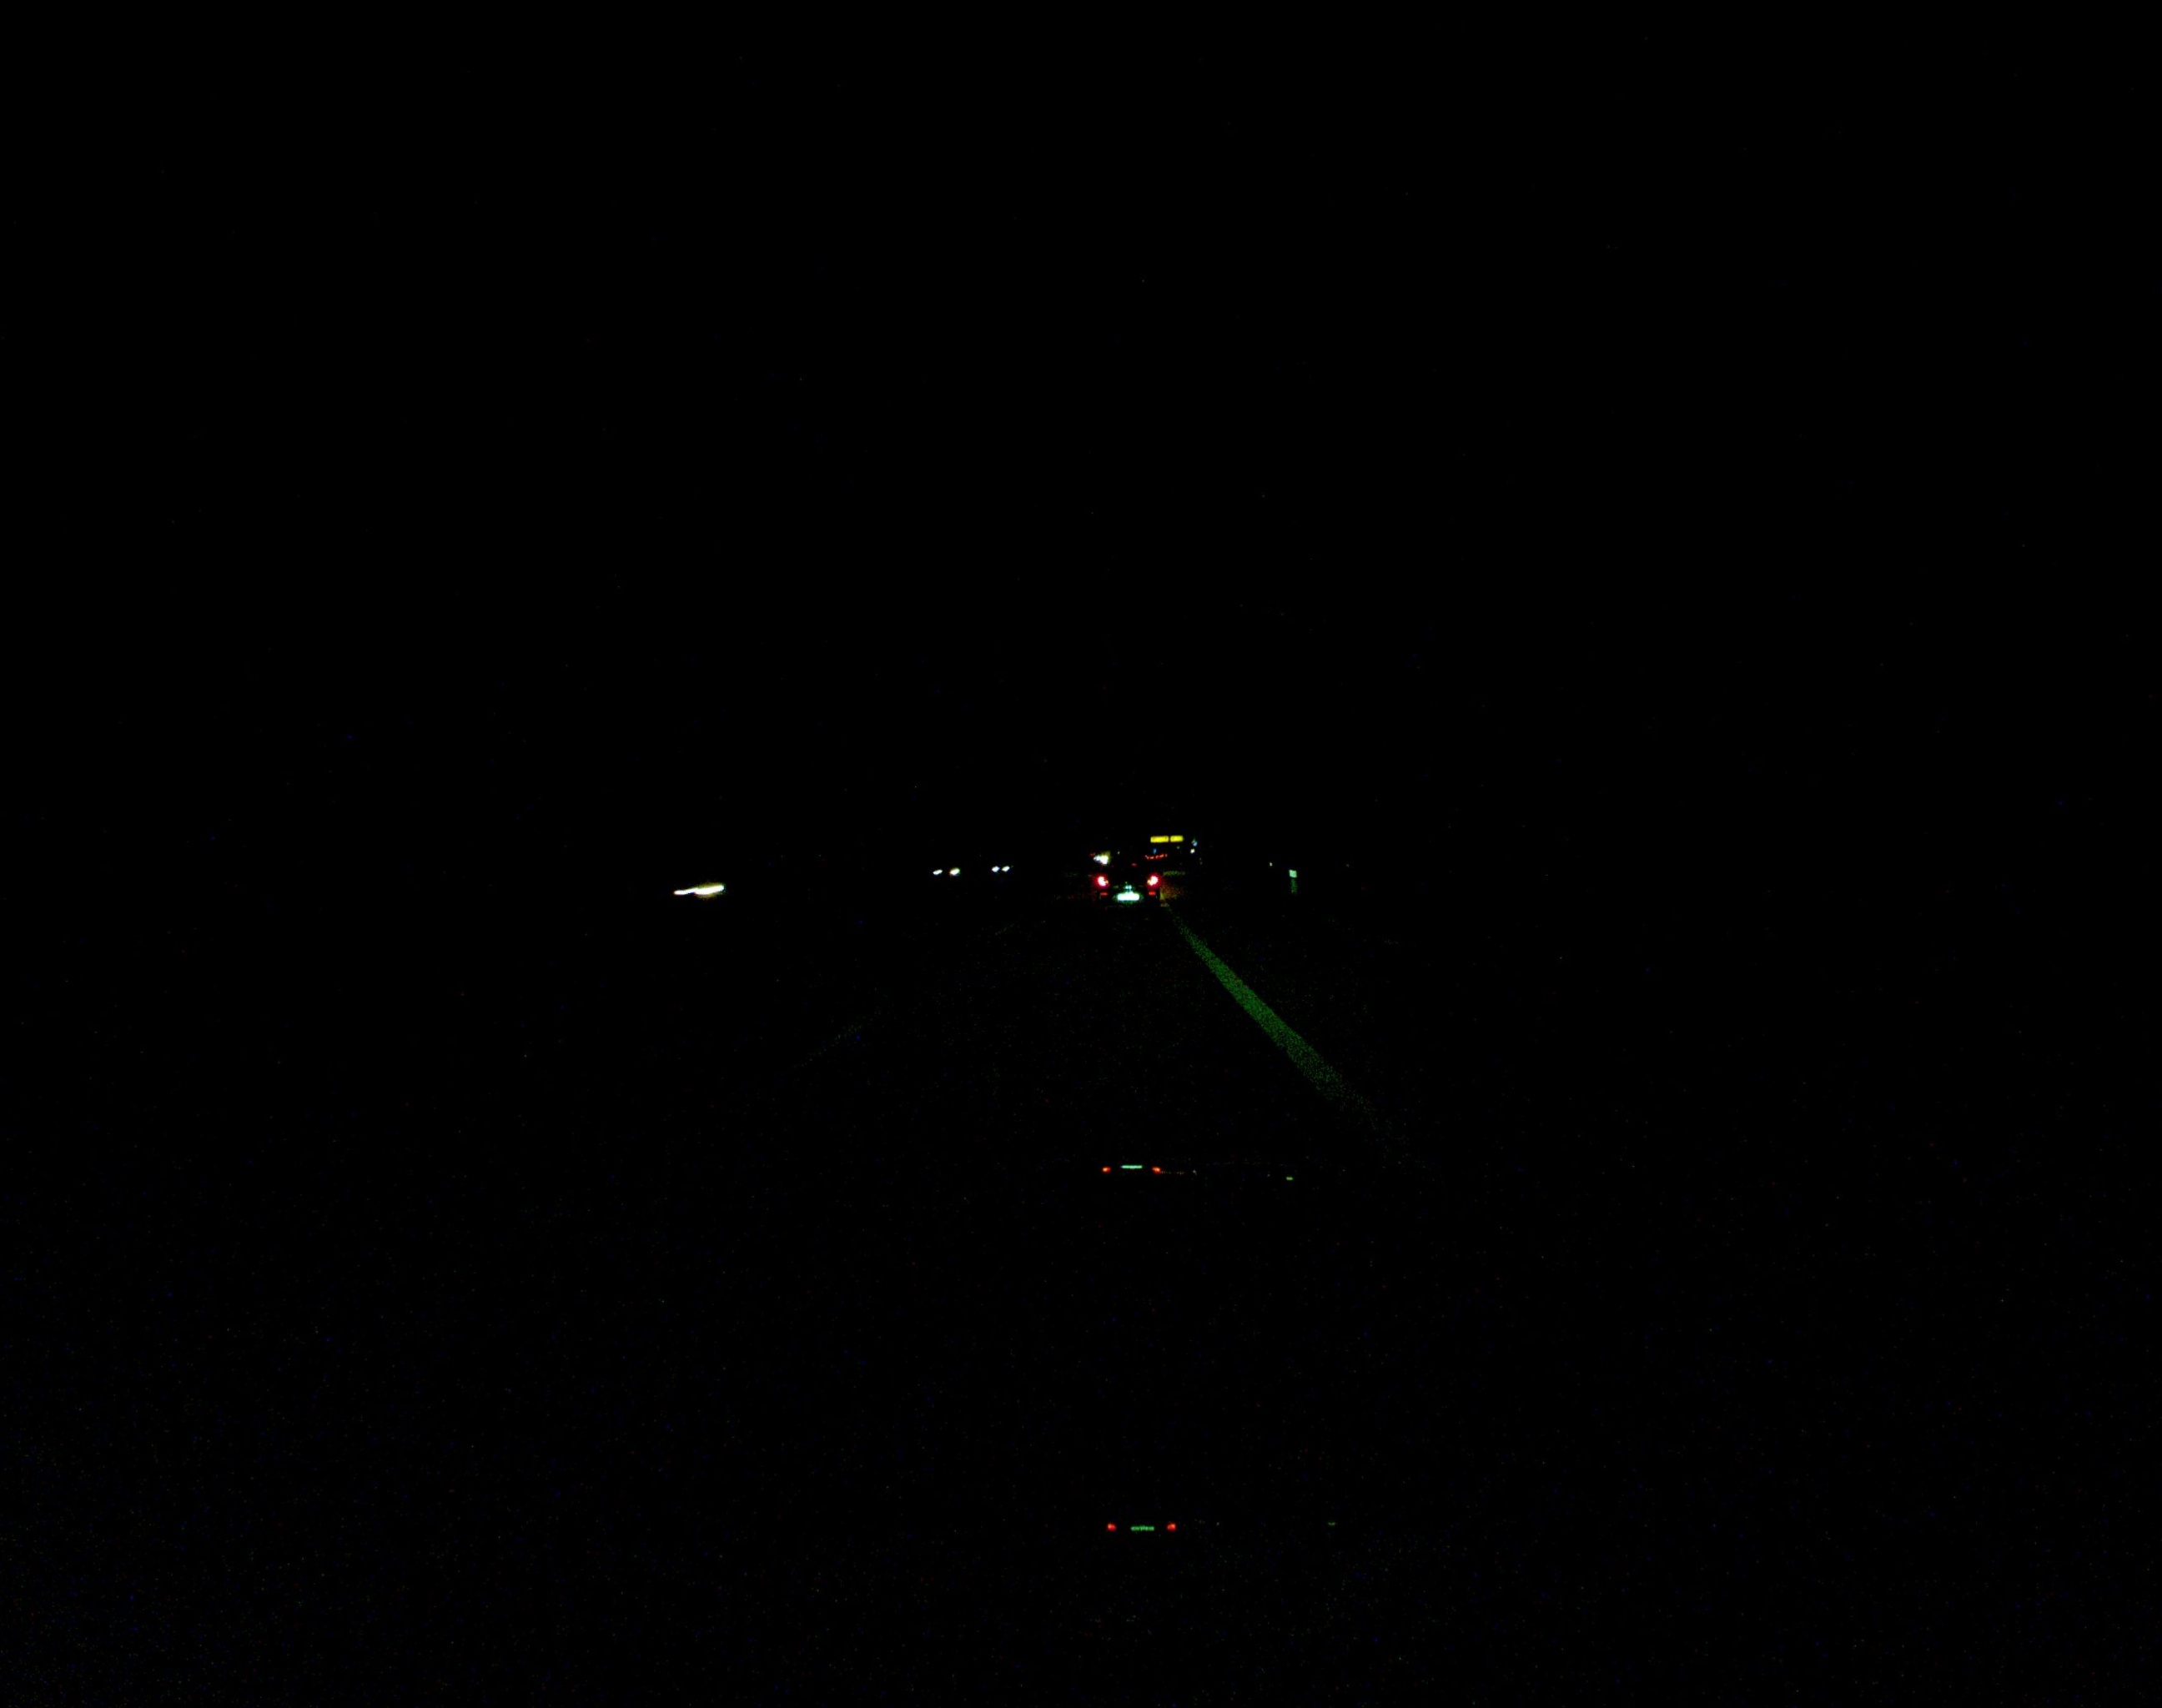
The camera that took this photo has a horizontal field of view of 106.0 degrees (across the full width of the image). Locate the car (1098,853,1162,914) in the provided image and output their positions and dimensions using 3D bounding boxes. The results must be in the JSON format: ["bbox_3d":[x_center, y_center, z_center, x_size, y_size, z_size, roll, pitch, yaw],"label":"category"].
[{"bbox_3d":[1.267,0.731,22.159,1.582,1.508,4.002,0,0,2],"label":"car"}]

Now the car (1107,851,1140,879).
[{"bbox_3d":[2.774,0.670,52.386,1.897,1.698,4.006,-1,0,5],"label":"car"}]

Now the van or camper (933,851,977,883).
[{"bbox_3d":[-11.138,1.092,72.852,2.285,2.617,7.670,-3,0,2],"label":"van or camper"}]

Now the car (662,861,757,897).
[{"bbox_3d":[-17.463,1.130,38.541,1.811,1.442,4.486,-4,0,8],"label":"car"}]
